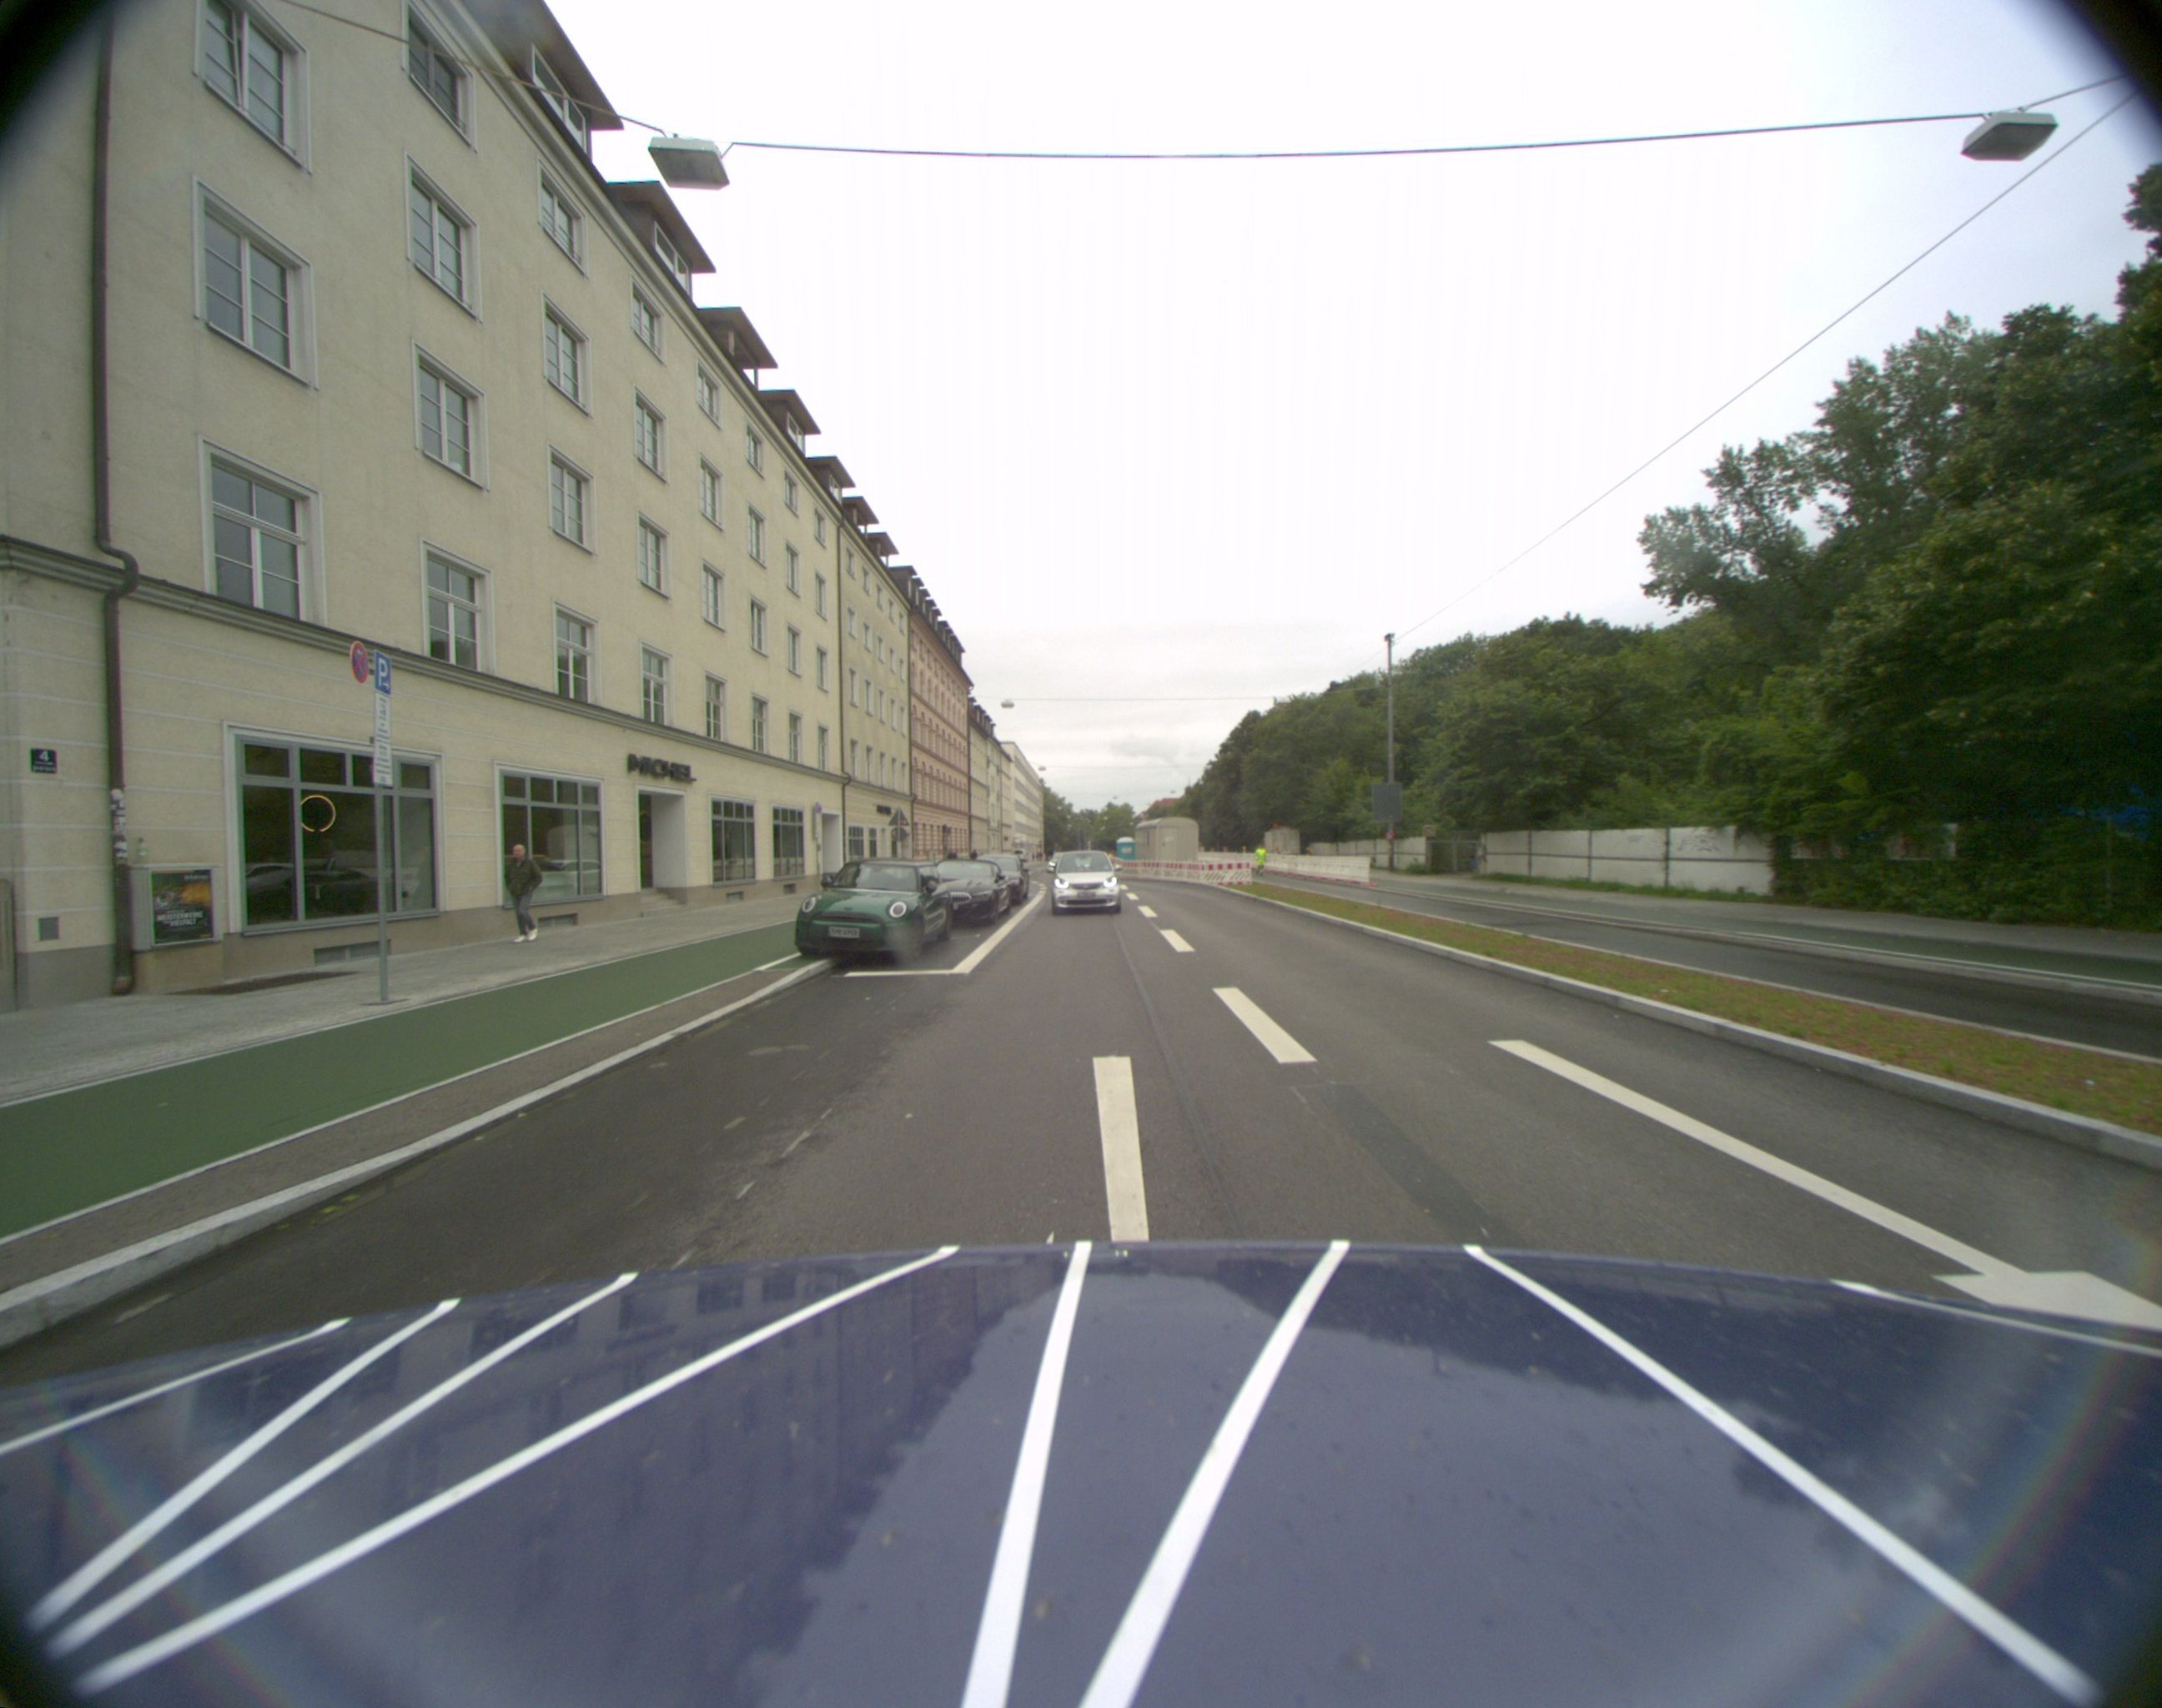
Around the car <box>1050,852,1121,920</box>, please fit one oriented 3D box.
[{"bbox_3d":[0.137,0.751,19.881,1.633,1.495,4.000,-2,1,1],"label":"car"}]

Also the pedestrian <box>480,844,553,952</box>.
[{"bbox_3d":[-9.978,0.753,13.462,0.655,1.863,0.826,0,1,1],"label":"pedestrian"}]

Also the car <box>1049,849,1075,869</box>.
[{"bbox_3d":[-1.472,0.365,60.800,1.922,1.433,4.306,-3,1,0],"label":"car"}]

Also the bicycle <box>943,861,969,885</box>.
[{"bbox_3d":[-5.889,0.882,35.872,0.751,1.026,2.530,-2,1,0],"label":"bicycle"}]

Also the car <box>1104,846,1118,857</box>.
[{"bbox_3d":[3.991,-0.353,102.708,1.739,1.425,4.000,-2,1,1],"label":"car"}]

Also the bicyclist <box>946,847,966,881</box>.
[{"bbox_3d":[-5.905,0.473,35.840,0.724,1.543,0.858,-2,1,0],"label":"bicyclist"}]

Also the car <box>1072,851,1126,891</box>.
[{"bbox_3d":[0.655,0.622,30.563,1.818,1.416,4.450,-3,1,-3],"label":"car"}]

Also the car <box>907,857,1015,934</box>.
[{"bbox_3d":[-2.601,0.849,17.361,1.739,1.425,4.000,-2,1,1],"label":"car"}]

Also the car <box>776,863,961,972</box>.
[{"bbox_3d":[-3.155,0.877,12.159,1.739,1.313,4.000,-2,1,1],"label":"car"}]

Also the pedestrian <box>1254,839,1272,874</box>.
[{"bbox_3d":[10.441,0.144,43.677,0.757,2.002,0.867,-2,1,1],"label":"pedestrian"}]

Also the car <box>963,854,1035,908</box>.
[{"bbox_3d":[-2.459,0.772,23.673,1.739,1.425,4.000,-2,1,1],"label":"car"}]

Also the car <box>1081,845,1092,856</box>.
[{"bbox_3d":[1.131,-0.675,144.057,1.998,2.002,4.000,-1,1,1],"label":"car"}]
